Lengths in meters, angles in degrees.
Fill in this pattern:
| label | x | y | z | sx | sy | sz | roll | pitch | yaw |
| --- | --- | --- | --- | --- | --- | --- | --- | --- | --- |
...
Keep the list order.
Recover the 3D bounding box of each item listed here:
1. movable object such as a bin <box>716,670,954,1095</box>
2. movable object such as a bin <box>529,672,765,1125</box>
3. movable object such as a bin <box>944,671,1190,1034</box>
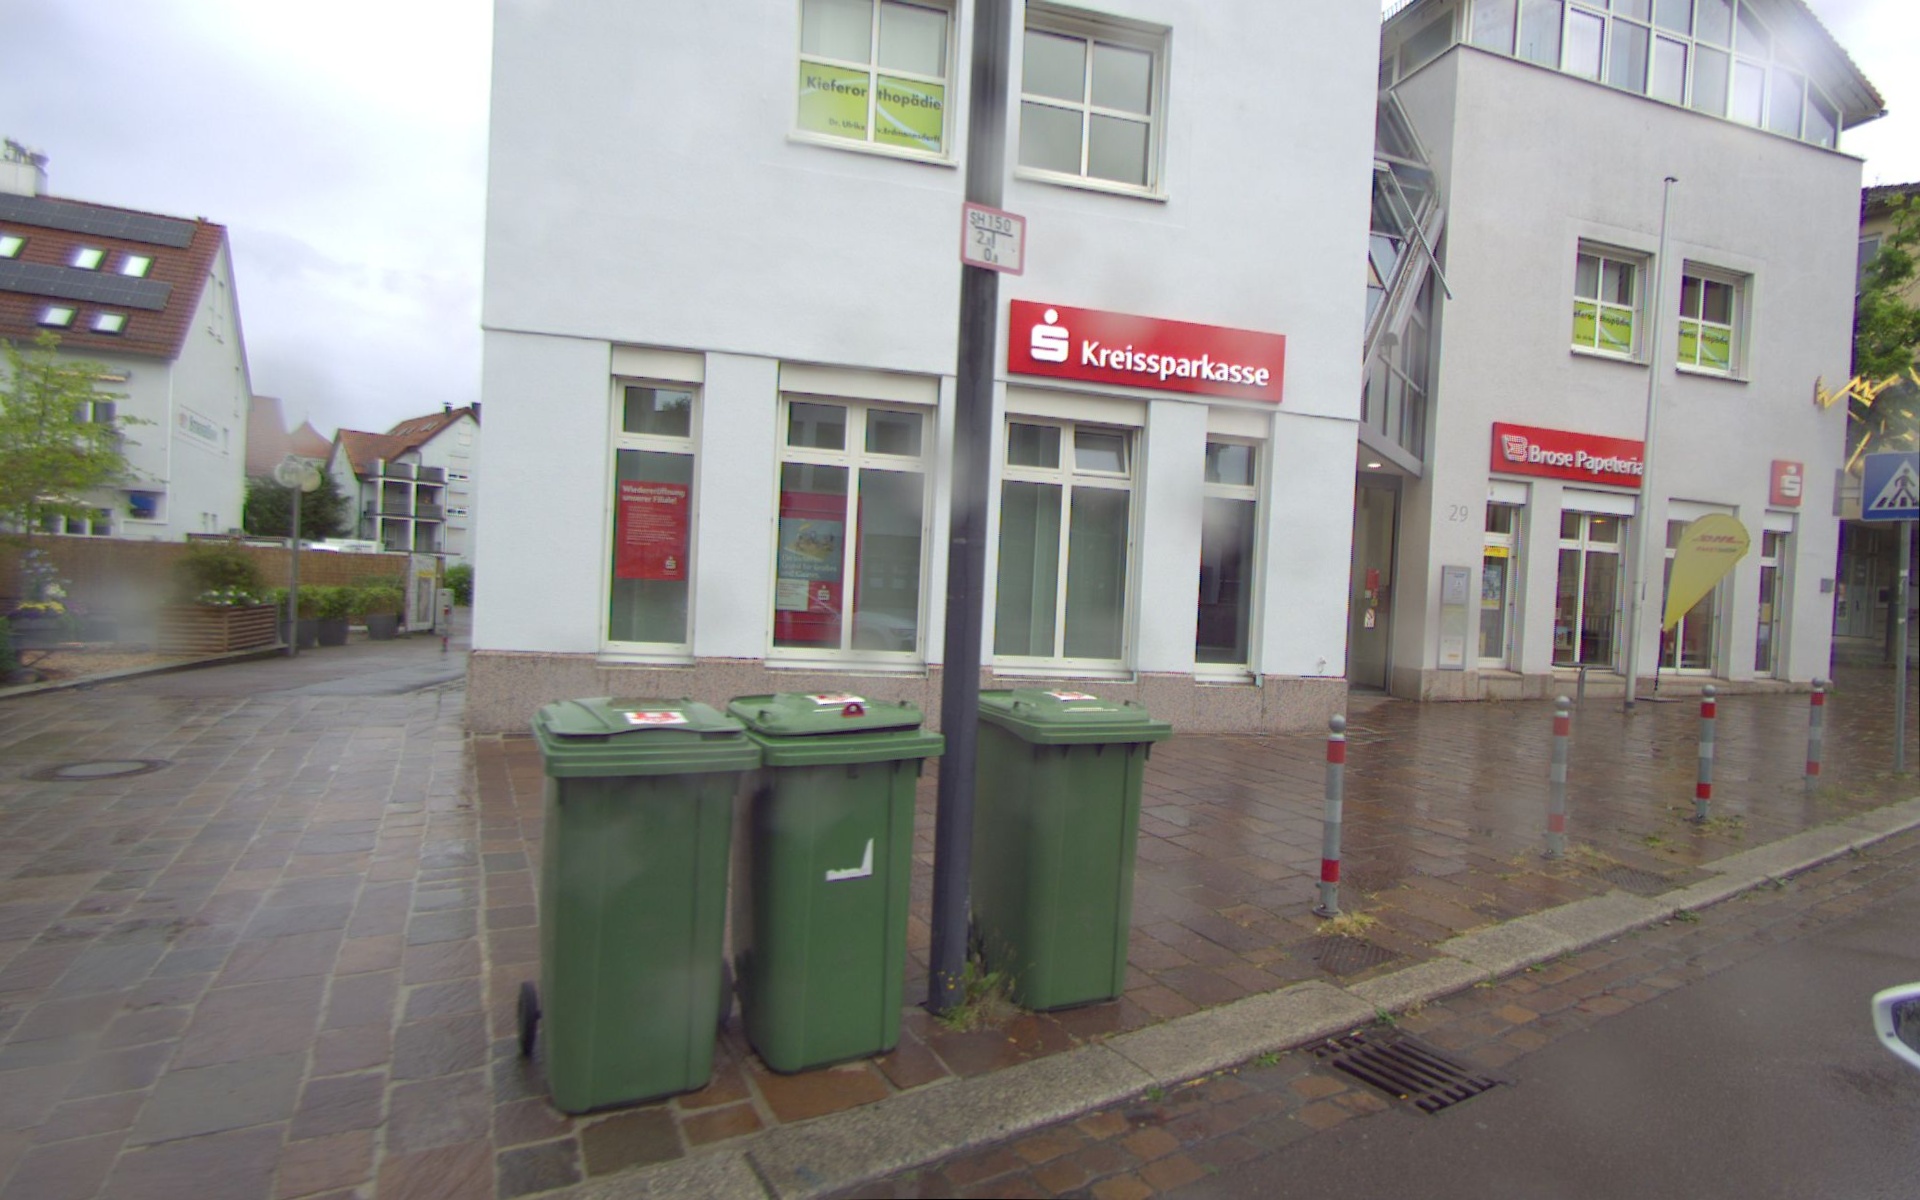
| label | x | y | z | sx | sy | sz | roll | pitch | yaw |
| --- | --- | --- | --- | --- | --- | --- | --- | --- | --- |
| movable object such as a bin | -0.420 | 0.816 | 3.212 | 0.545 | 1.129 | 0.656 | 1 | 0 | -27 |
| movable object such as a bin | -0.946 | 0.788 | 2.969 | 0.545 | 1.097 | 0.656 | 1 | 0 | -27 |
| movable object such as a bin | 0.372 | 0.841 | 3.657 | 0.606 | 1.110 | 0.655 | 1 | 0 | -29 |
